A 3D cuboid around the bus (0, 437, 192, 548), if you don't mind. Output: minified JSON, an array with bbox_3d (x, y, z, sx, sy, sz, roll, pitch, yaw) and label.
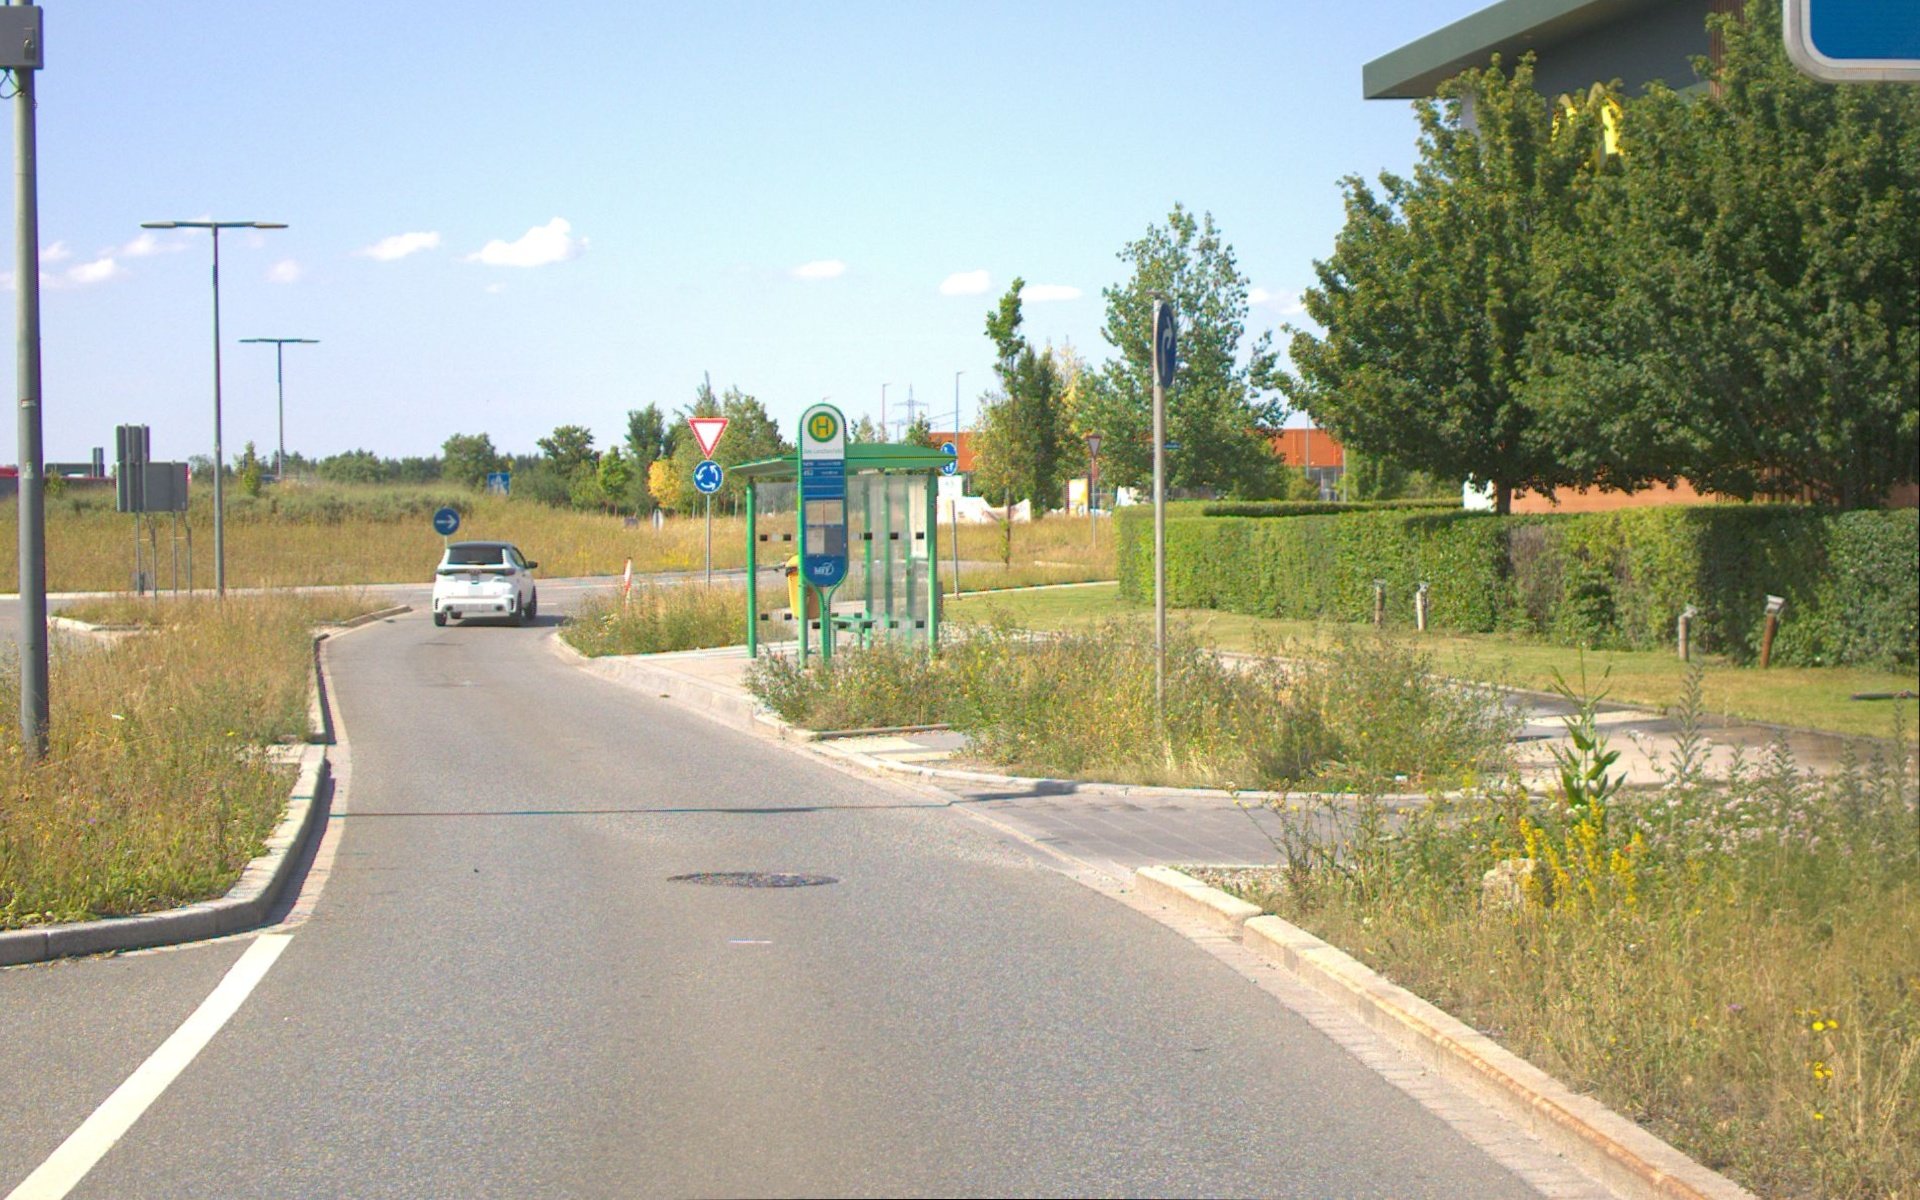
[{"bbox_3d":[-27.551,-3.256,103.095,2.789,3.068,12.193,-1,3,19],"label":"bus"}]

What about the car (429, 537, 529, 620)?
[{"bbox_3d":[-8.688,-0.408,61.874,1.616,1.429,3.793,-1,1,-10],"label":"car"}]
